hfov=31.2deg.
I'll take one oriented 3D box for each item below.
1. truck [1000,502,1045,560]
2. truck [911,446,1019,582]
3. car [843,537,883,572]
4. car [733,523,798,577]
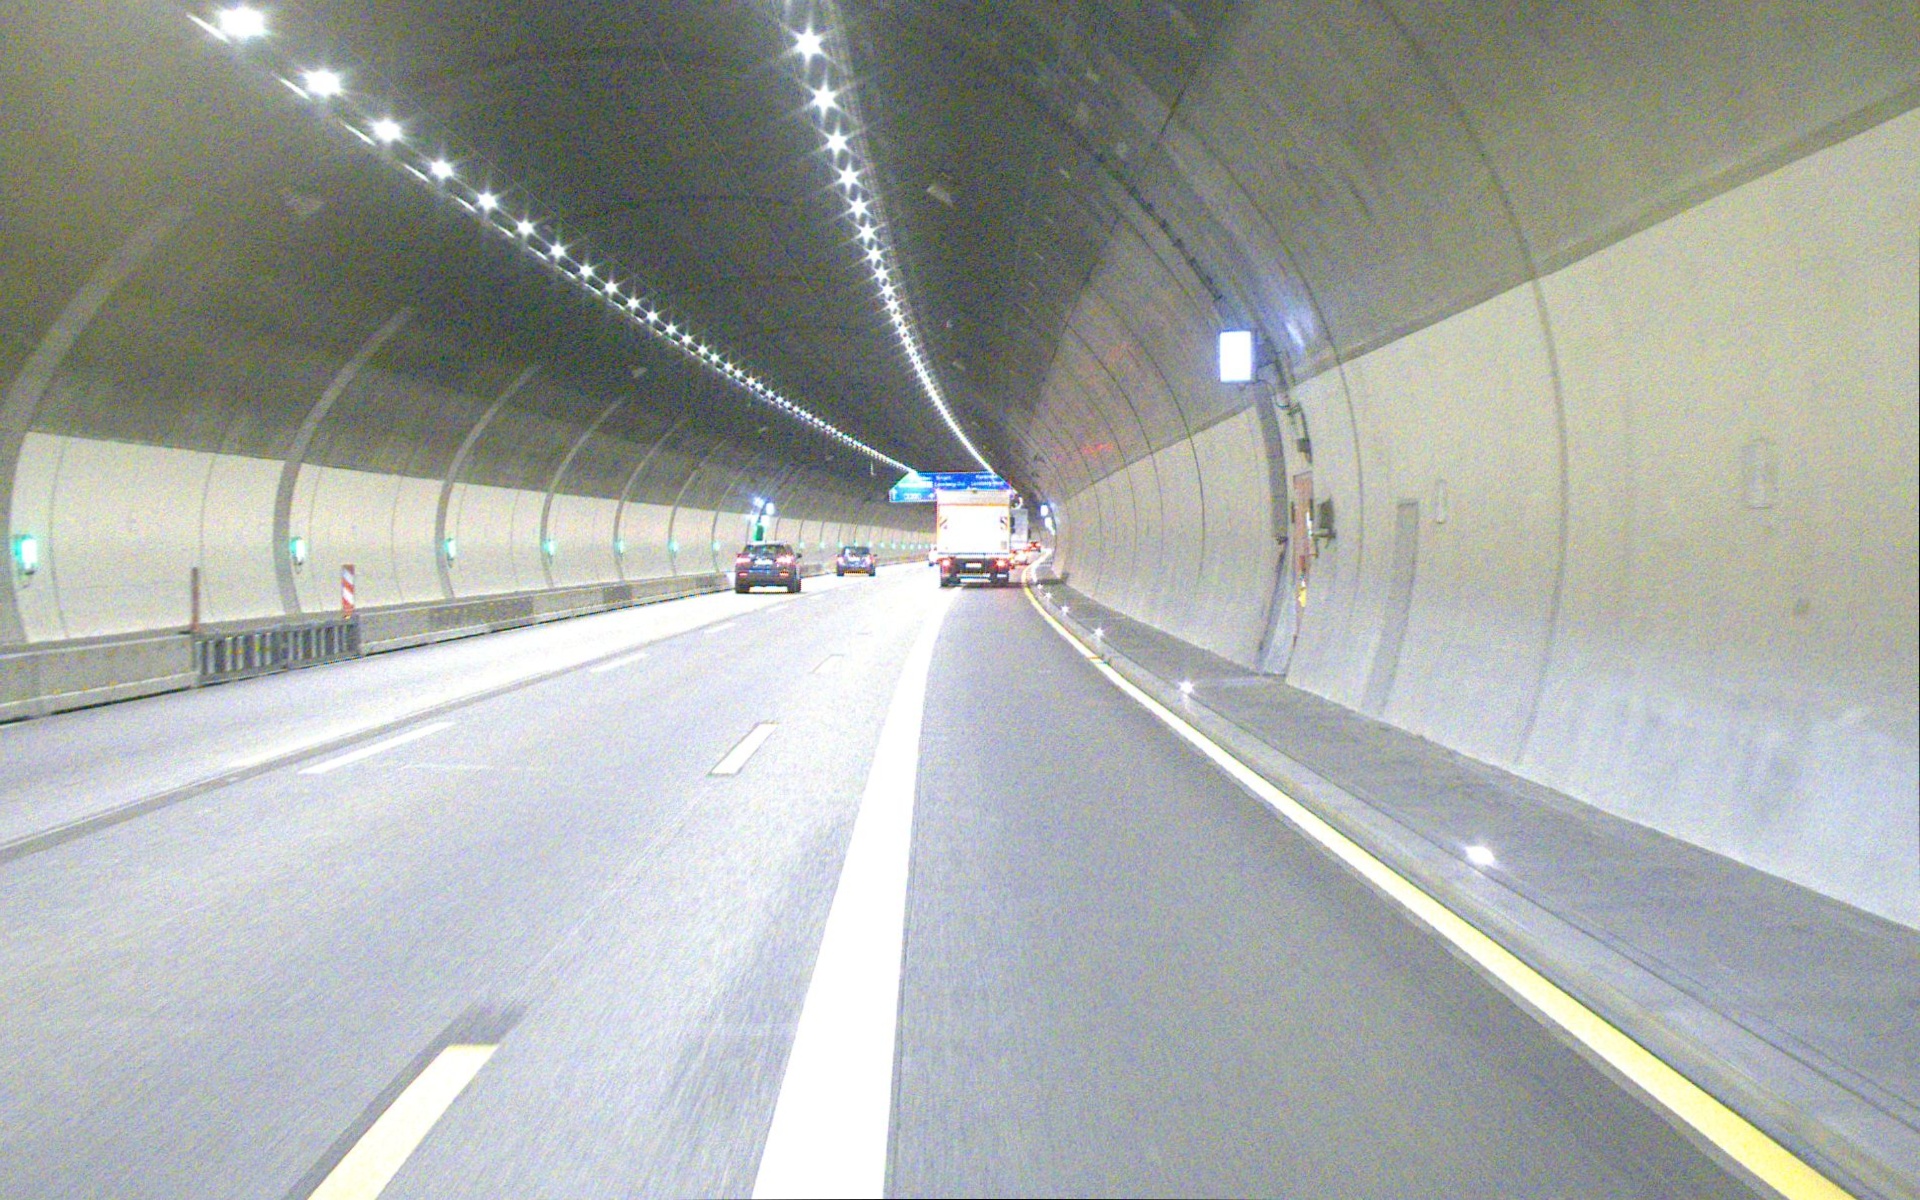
[{"bbox_3d":[4.467,-4.966,248.681,2.922,4.034,14.030,-1,1,0],"label":"truck"},{"bbox_3d":[0.047,-3.138,127.450,3.278,4.634,17.288,-1,1,-2],"label":"truck"},{"bbox_3d":[-4.529,-2.132,159.706,1.812,1.514,4.001,0,3,-2],"label":"car"},{"bbox_3d":[-5.891,-1.535,104.589,1.812,1.612,4.000,0,1,-1],"label":"car"}]
